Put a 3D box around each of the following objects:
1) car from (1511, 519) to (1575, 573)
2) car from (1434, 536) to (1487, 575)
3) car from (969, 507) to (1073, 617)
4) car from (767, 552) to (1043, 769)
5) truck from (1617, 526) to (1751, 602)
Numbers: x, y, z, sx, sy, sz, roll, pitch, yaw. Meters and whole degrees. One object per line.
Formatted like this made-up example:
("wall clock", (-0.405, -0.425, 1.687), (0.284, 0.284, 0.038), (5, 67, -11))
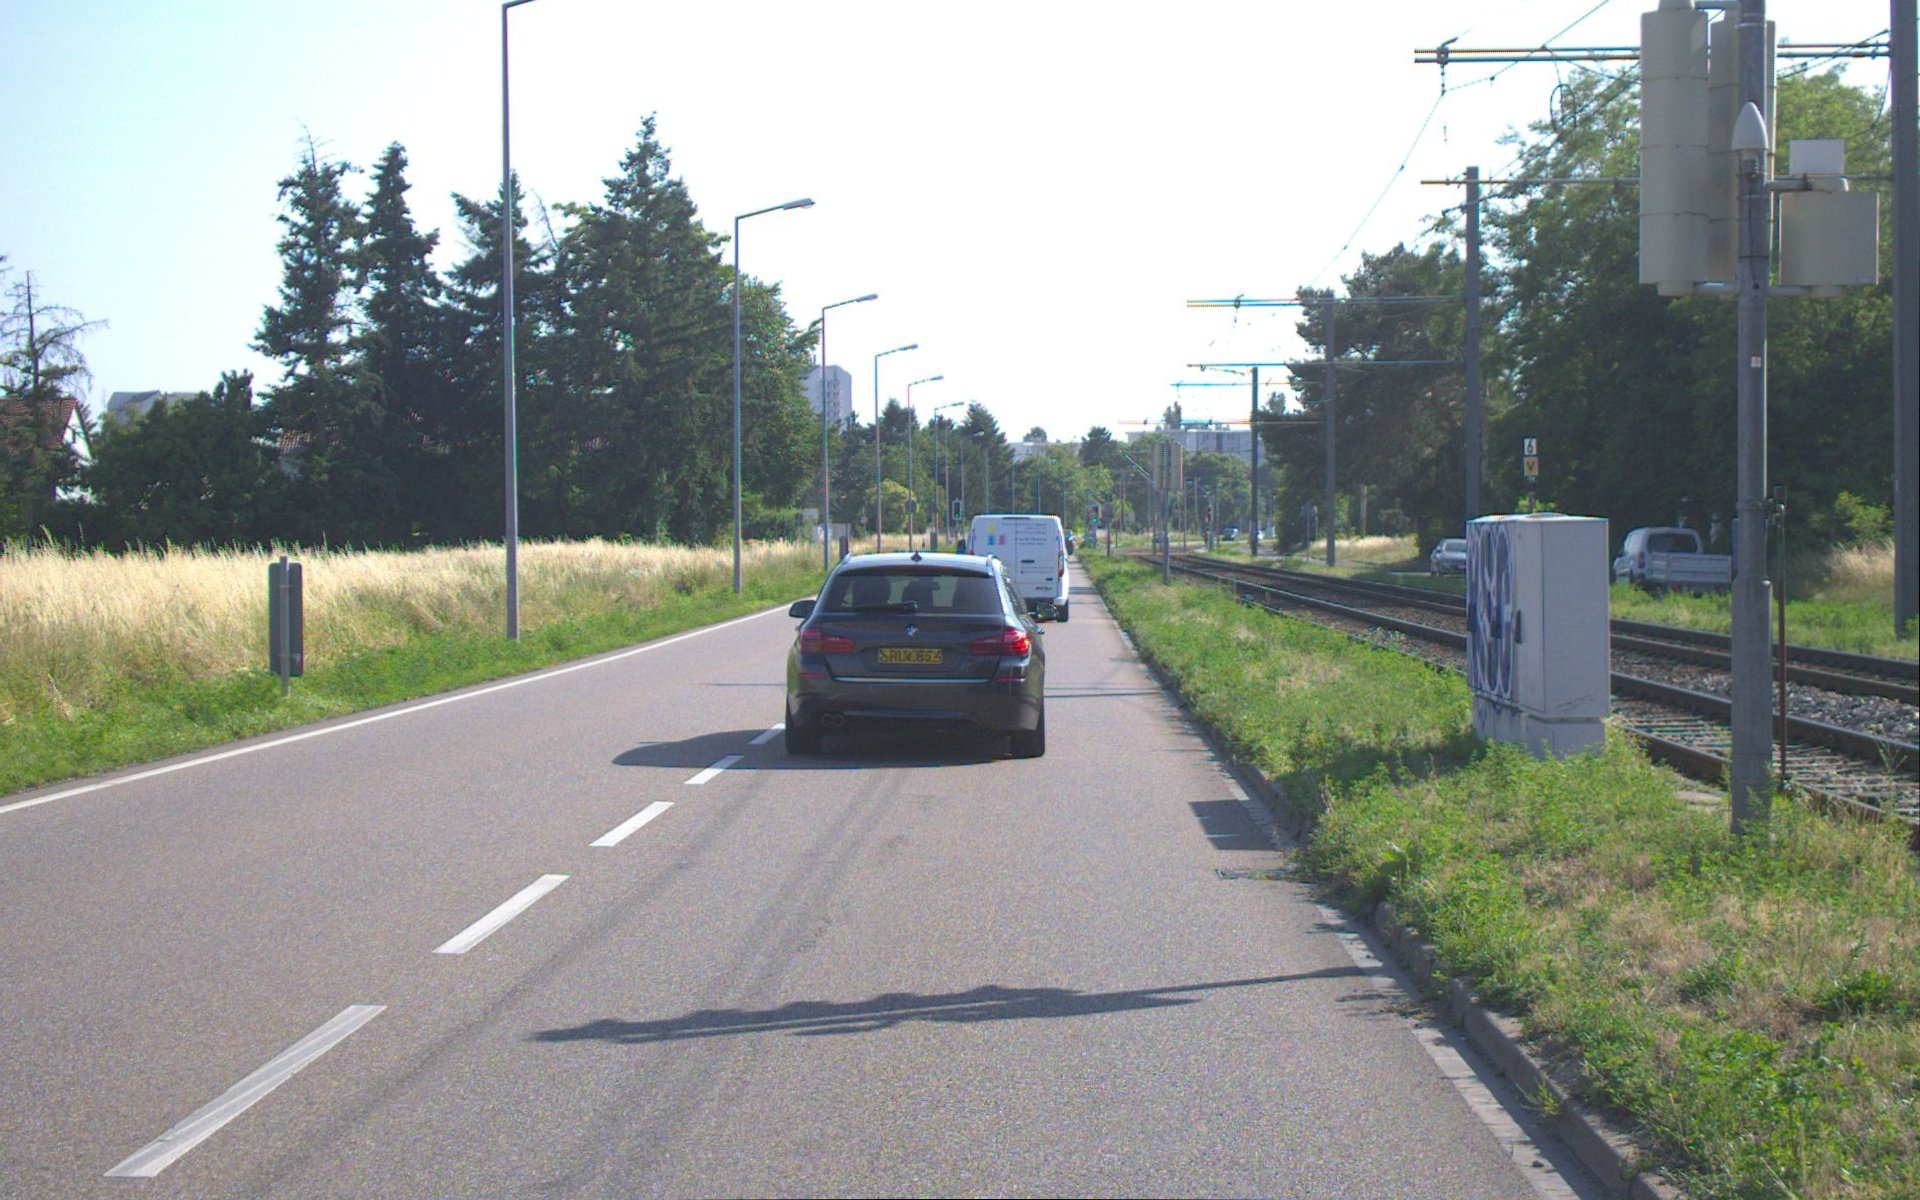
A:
("car", (19.381, -1.790, 114.322), (1.735, 1.674, 3.543), (1, 0, 4))
("car", (19.241, -1.716, 132.323), (1.621, 1.394, 3.489), (1, 0, 2))
("car", (1.114, -0.748, 65.302), (1.857, 1.981, 5.108), (1, 1, 0))
("car", (-0.346, 0.380, 25.896), (1.869, 1.447, 4.744), (1, 1, 1))
("truck", (18.102, -0.922, 86.224), (2.204, 1.813, 5.929), (0, 1, 1))
